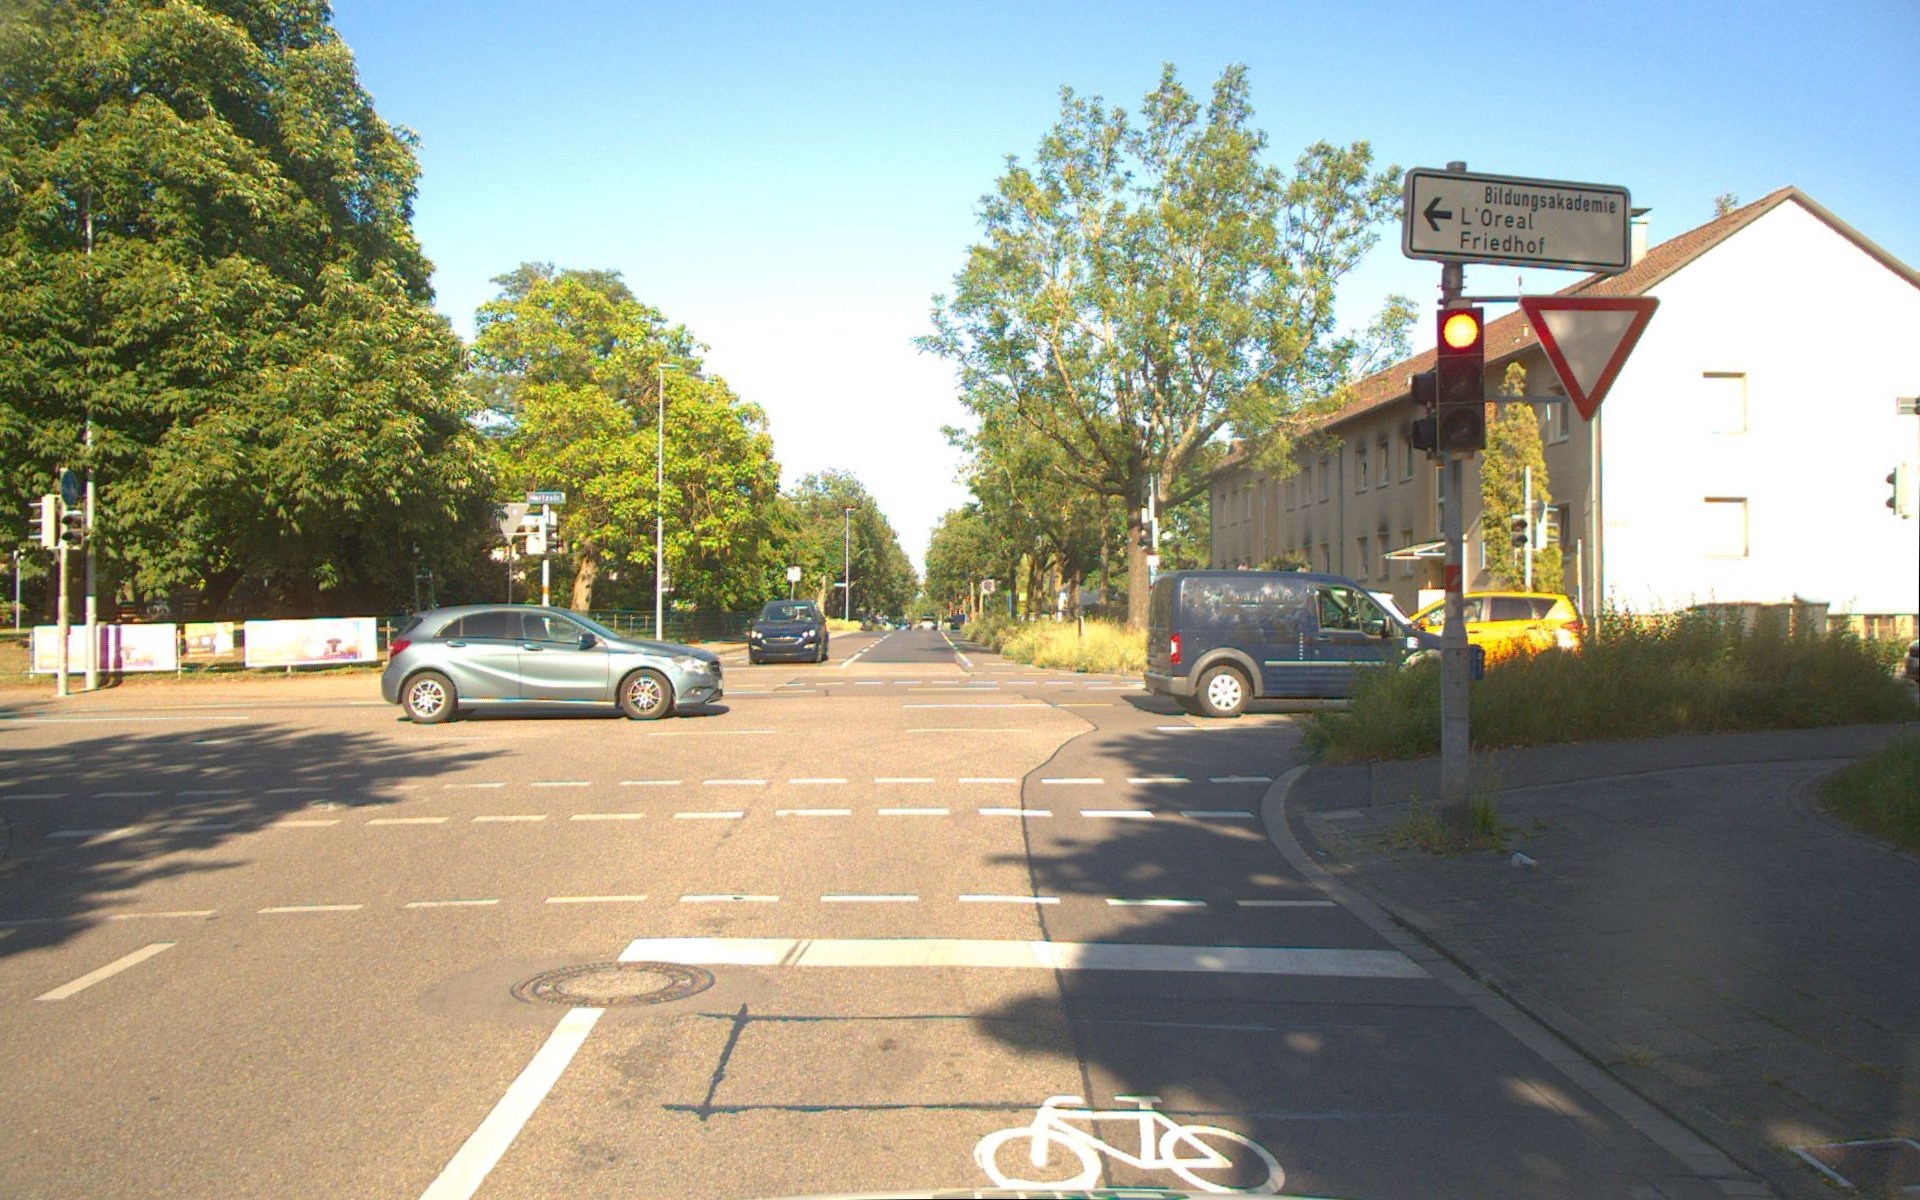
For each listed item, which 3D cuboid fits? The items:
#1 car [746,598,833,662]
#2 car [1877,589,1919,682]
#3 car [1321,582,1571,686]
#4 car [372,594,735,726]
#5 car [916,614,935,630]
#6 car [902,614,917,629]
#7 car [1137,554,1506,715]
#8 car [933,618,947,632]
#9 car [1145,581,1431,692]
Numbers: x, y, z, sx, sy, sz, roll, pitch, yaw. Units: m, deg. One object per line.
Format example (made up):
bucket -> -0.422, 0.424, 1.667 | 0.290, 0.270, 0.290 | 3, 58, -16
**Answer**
car -> -3.963, 0.671, 38.957 | 1.676, 1.410, 3.471 | 0, 0, 0
car -> 17.207, 0.541, 26.084 | 4.644, 1.455, 1.994 | 0, 0, -12
car -> 8.172, 0.541, 27.817 | 3.904, 1.610, 1.758 | 1, -1, 19
car -> -5.091, 0.726, 21.208 | 4.198, 1.515, 1.912 | -1, 0, -3
car -> -3.378, 2.106, 161.896 | 1.807, 1.487, 3.529 | 0, 0, -1
car -> -6.042, 2.562, 198.894 | 1.722, 1.653, 3.268 | 0, 0, 0
car -> 4.544, 0.406, 21.181 | 4.260, 1.920, 1.858 | -1, 0, -5
car -> -2.654, 3.326, 219.161 | 1.737, 1.785, 3.999 | 1, 0, -1
car -> 4.998, 0.554, 25.563 | 4.025, 1.591, 1.756 | 1, -1, -3
